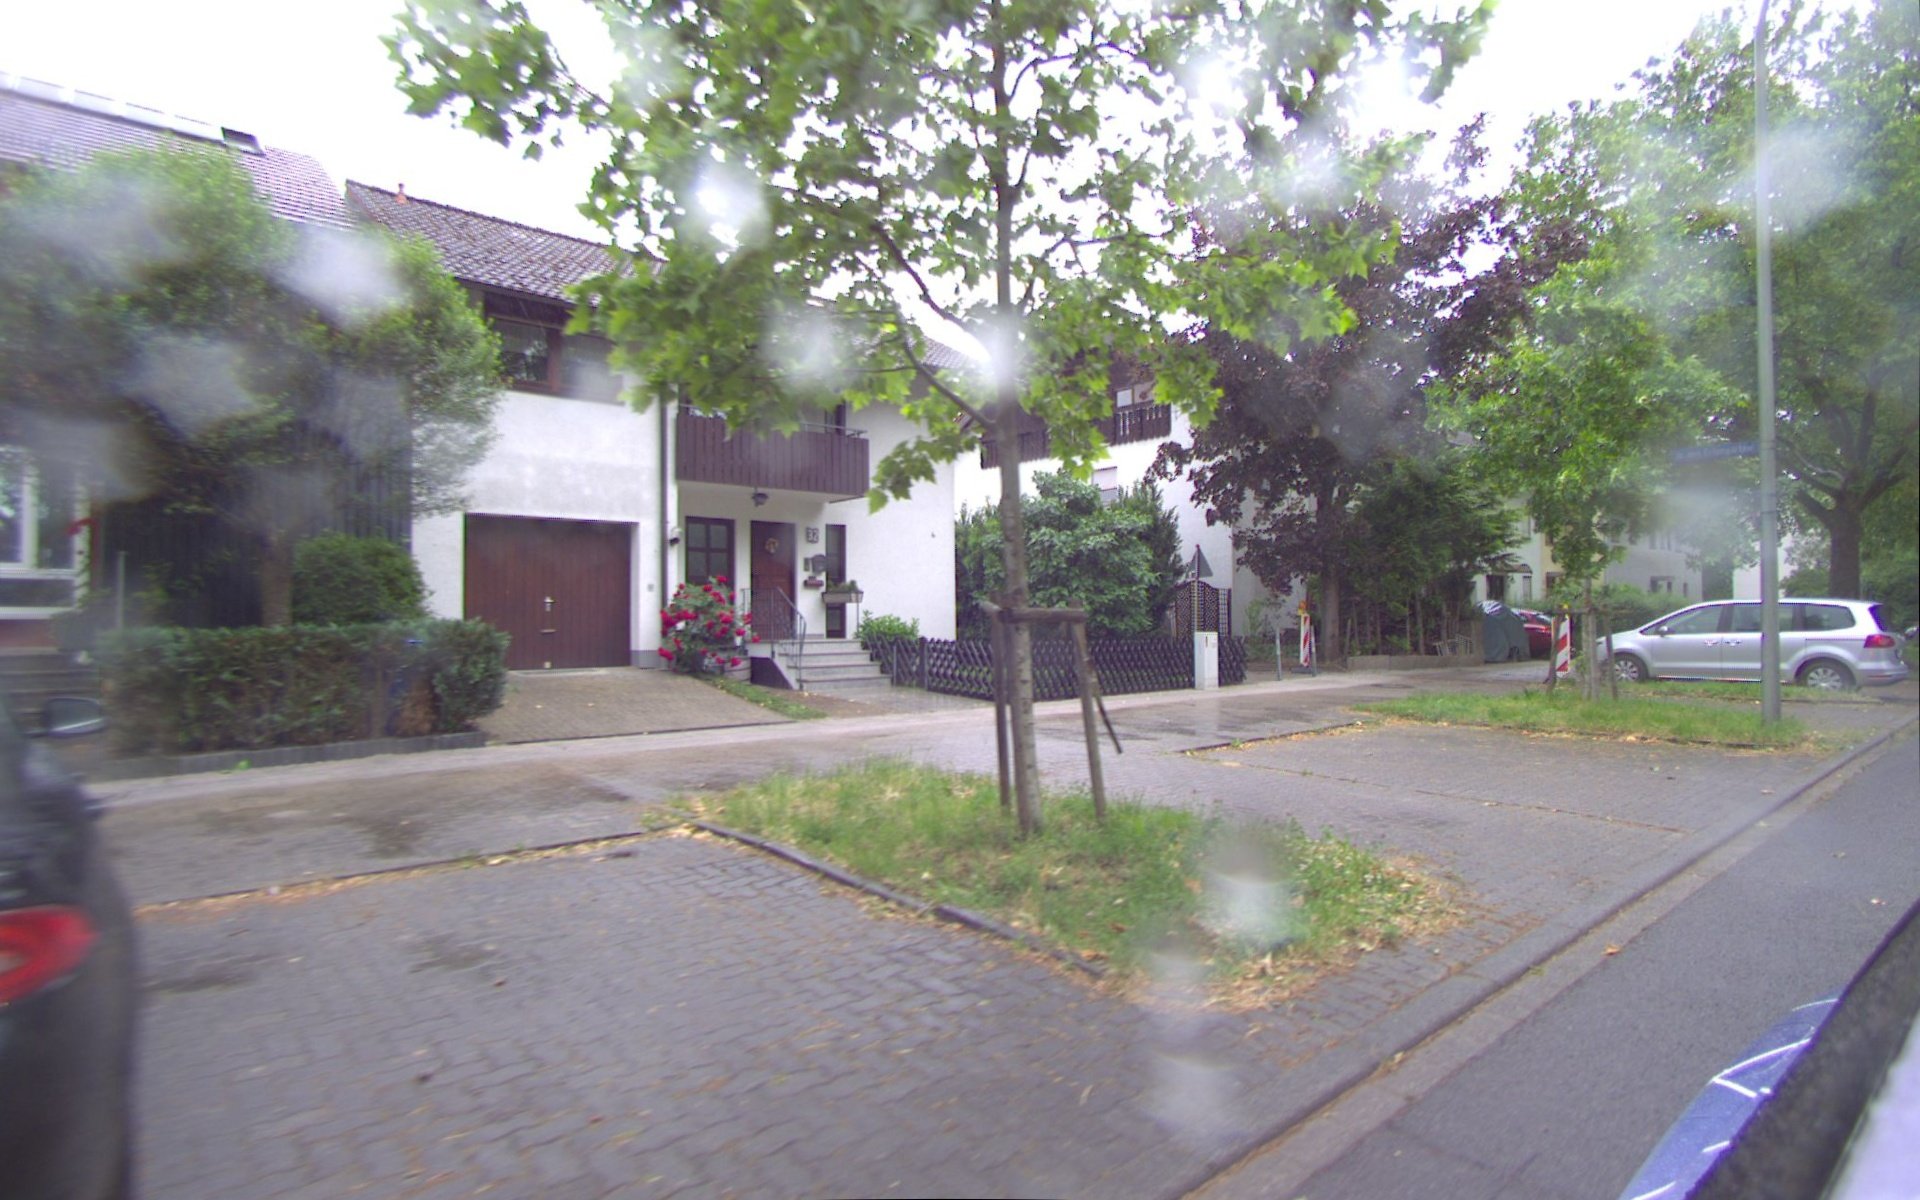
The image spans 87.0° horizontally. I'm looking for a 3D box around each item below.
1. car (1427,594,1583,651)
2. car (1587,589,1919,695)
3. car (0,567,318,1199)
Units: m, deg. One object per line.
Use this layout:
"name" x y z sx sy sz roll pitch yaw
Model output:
"car" 16.670 0.669 31.088 1.809 1.633 3.853 1 -1 -38
"car" 14.378 0.682 18.420 1.942 1.682 4.695 1 -1 -42
"car" -3.316 0.690 2.574 1.906 1.492 4.769 1 0 -44
